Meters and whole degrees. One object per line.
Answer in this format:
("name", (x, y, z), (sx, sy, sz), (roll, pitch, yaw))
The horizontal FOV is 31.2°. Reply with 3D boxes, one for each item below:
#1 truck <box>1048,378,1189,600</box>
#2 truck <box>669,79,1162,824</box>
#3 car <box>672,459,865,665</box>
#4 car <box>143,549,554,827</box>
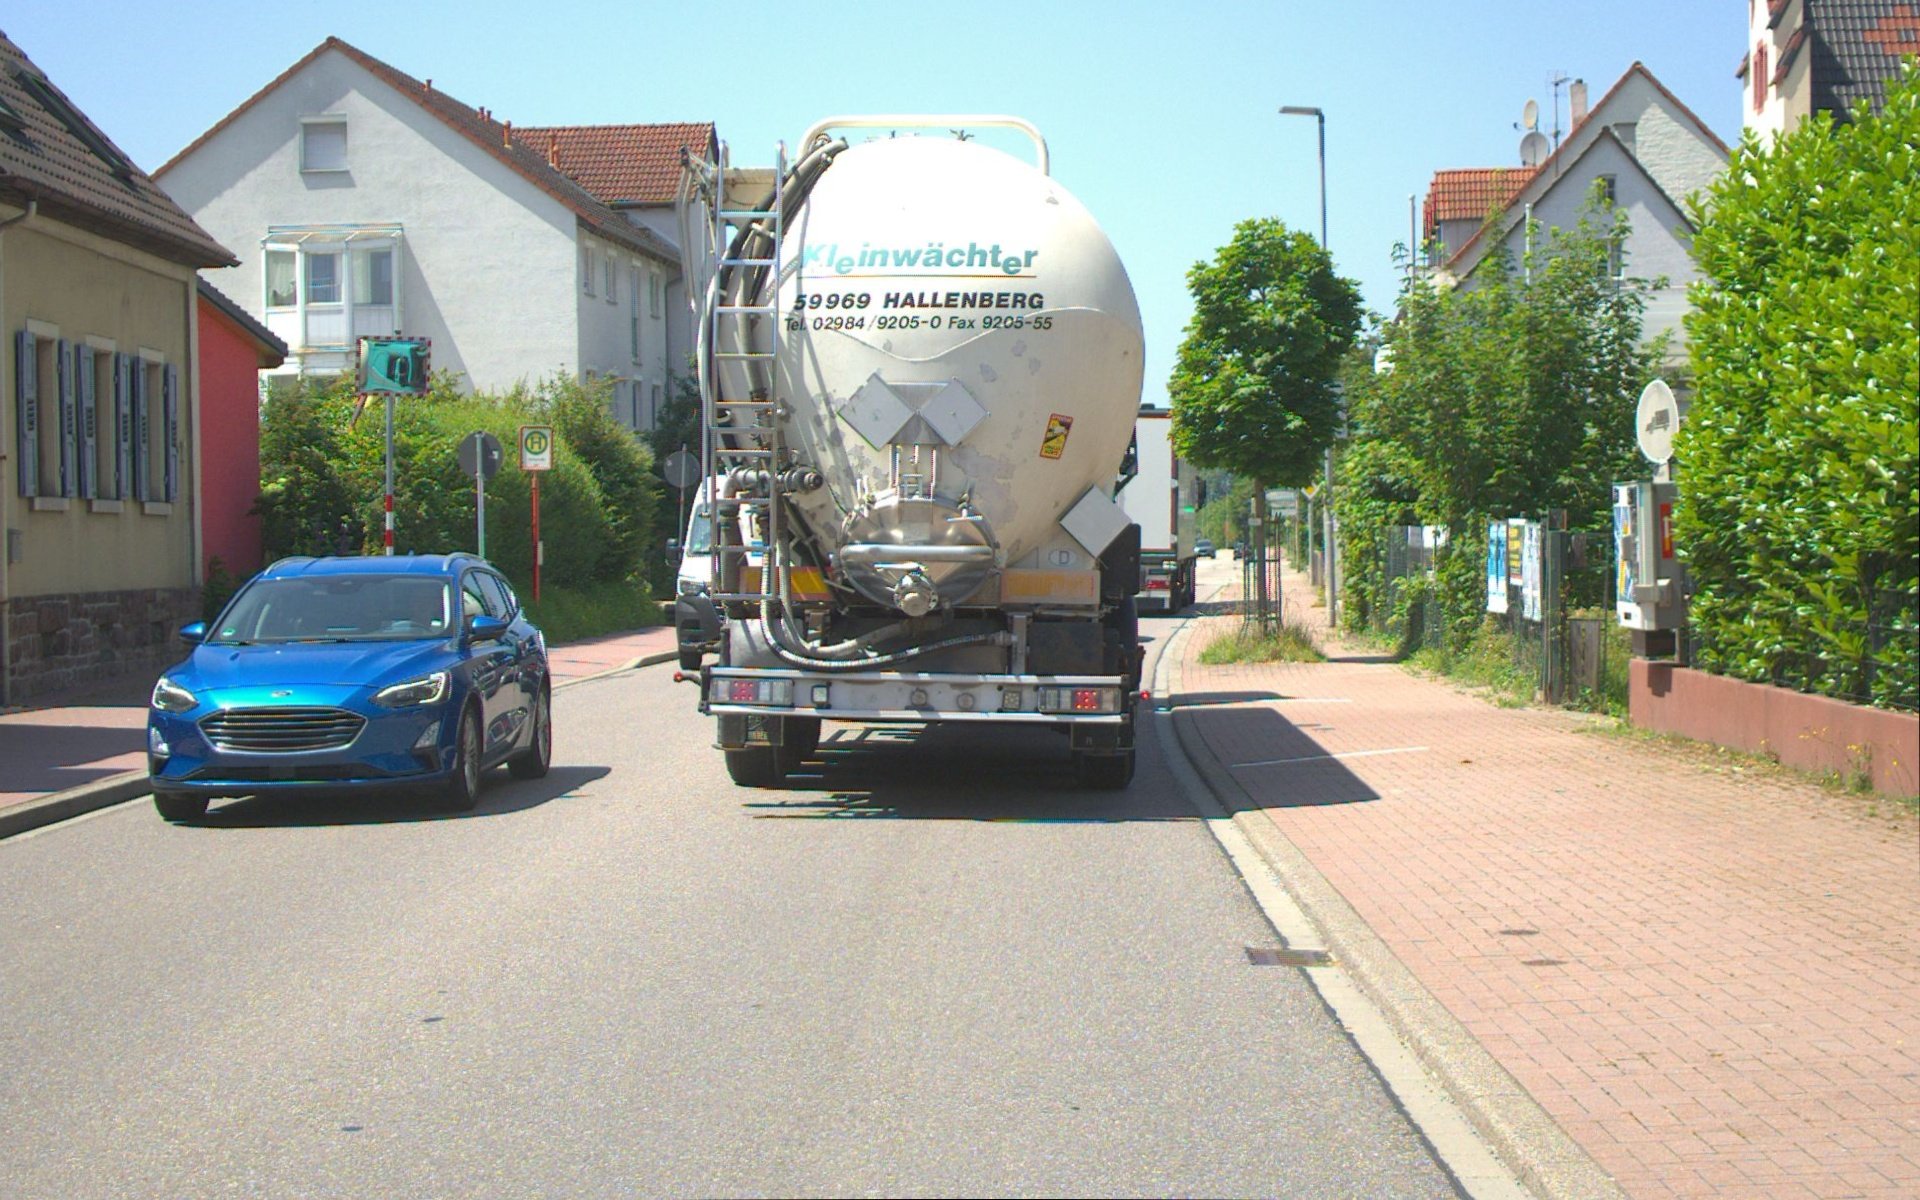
("truck", (3.413, -2.227, 71.365), (2.641, 4.210, 12.092), (0, 1, 4))
("truck", (-0.239, -0.894, 23.271), (2.641, 4.002, 9.562), (0, 1, 0))
("car", (-2.399, -0.512, 44.677), (2.029, 2.452, 6.068), (-1, 1, 1))
("car", (-3.589, 0.448, 20.929), (1.645, 1.449, 4.401), (-2, 1, 0))
